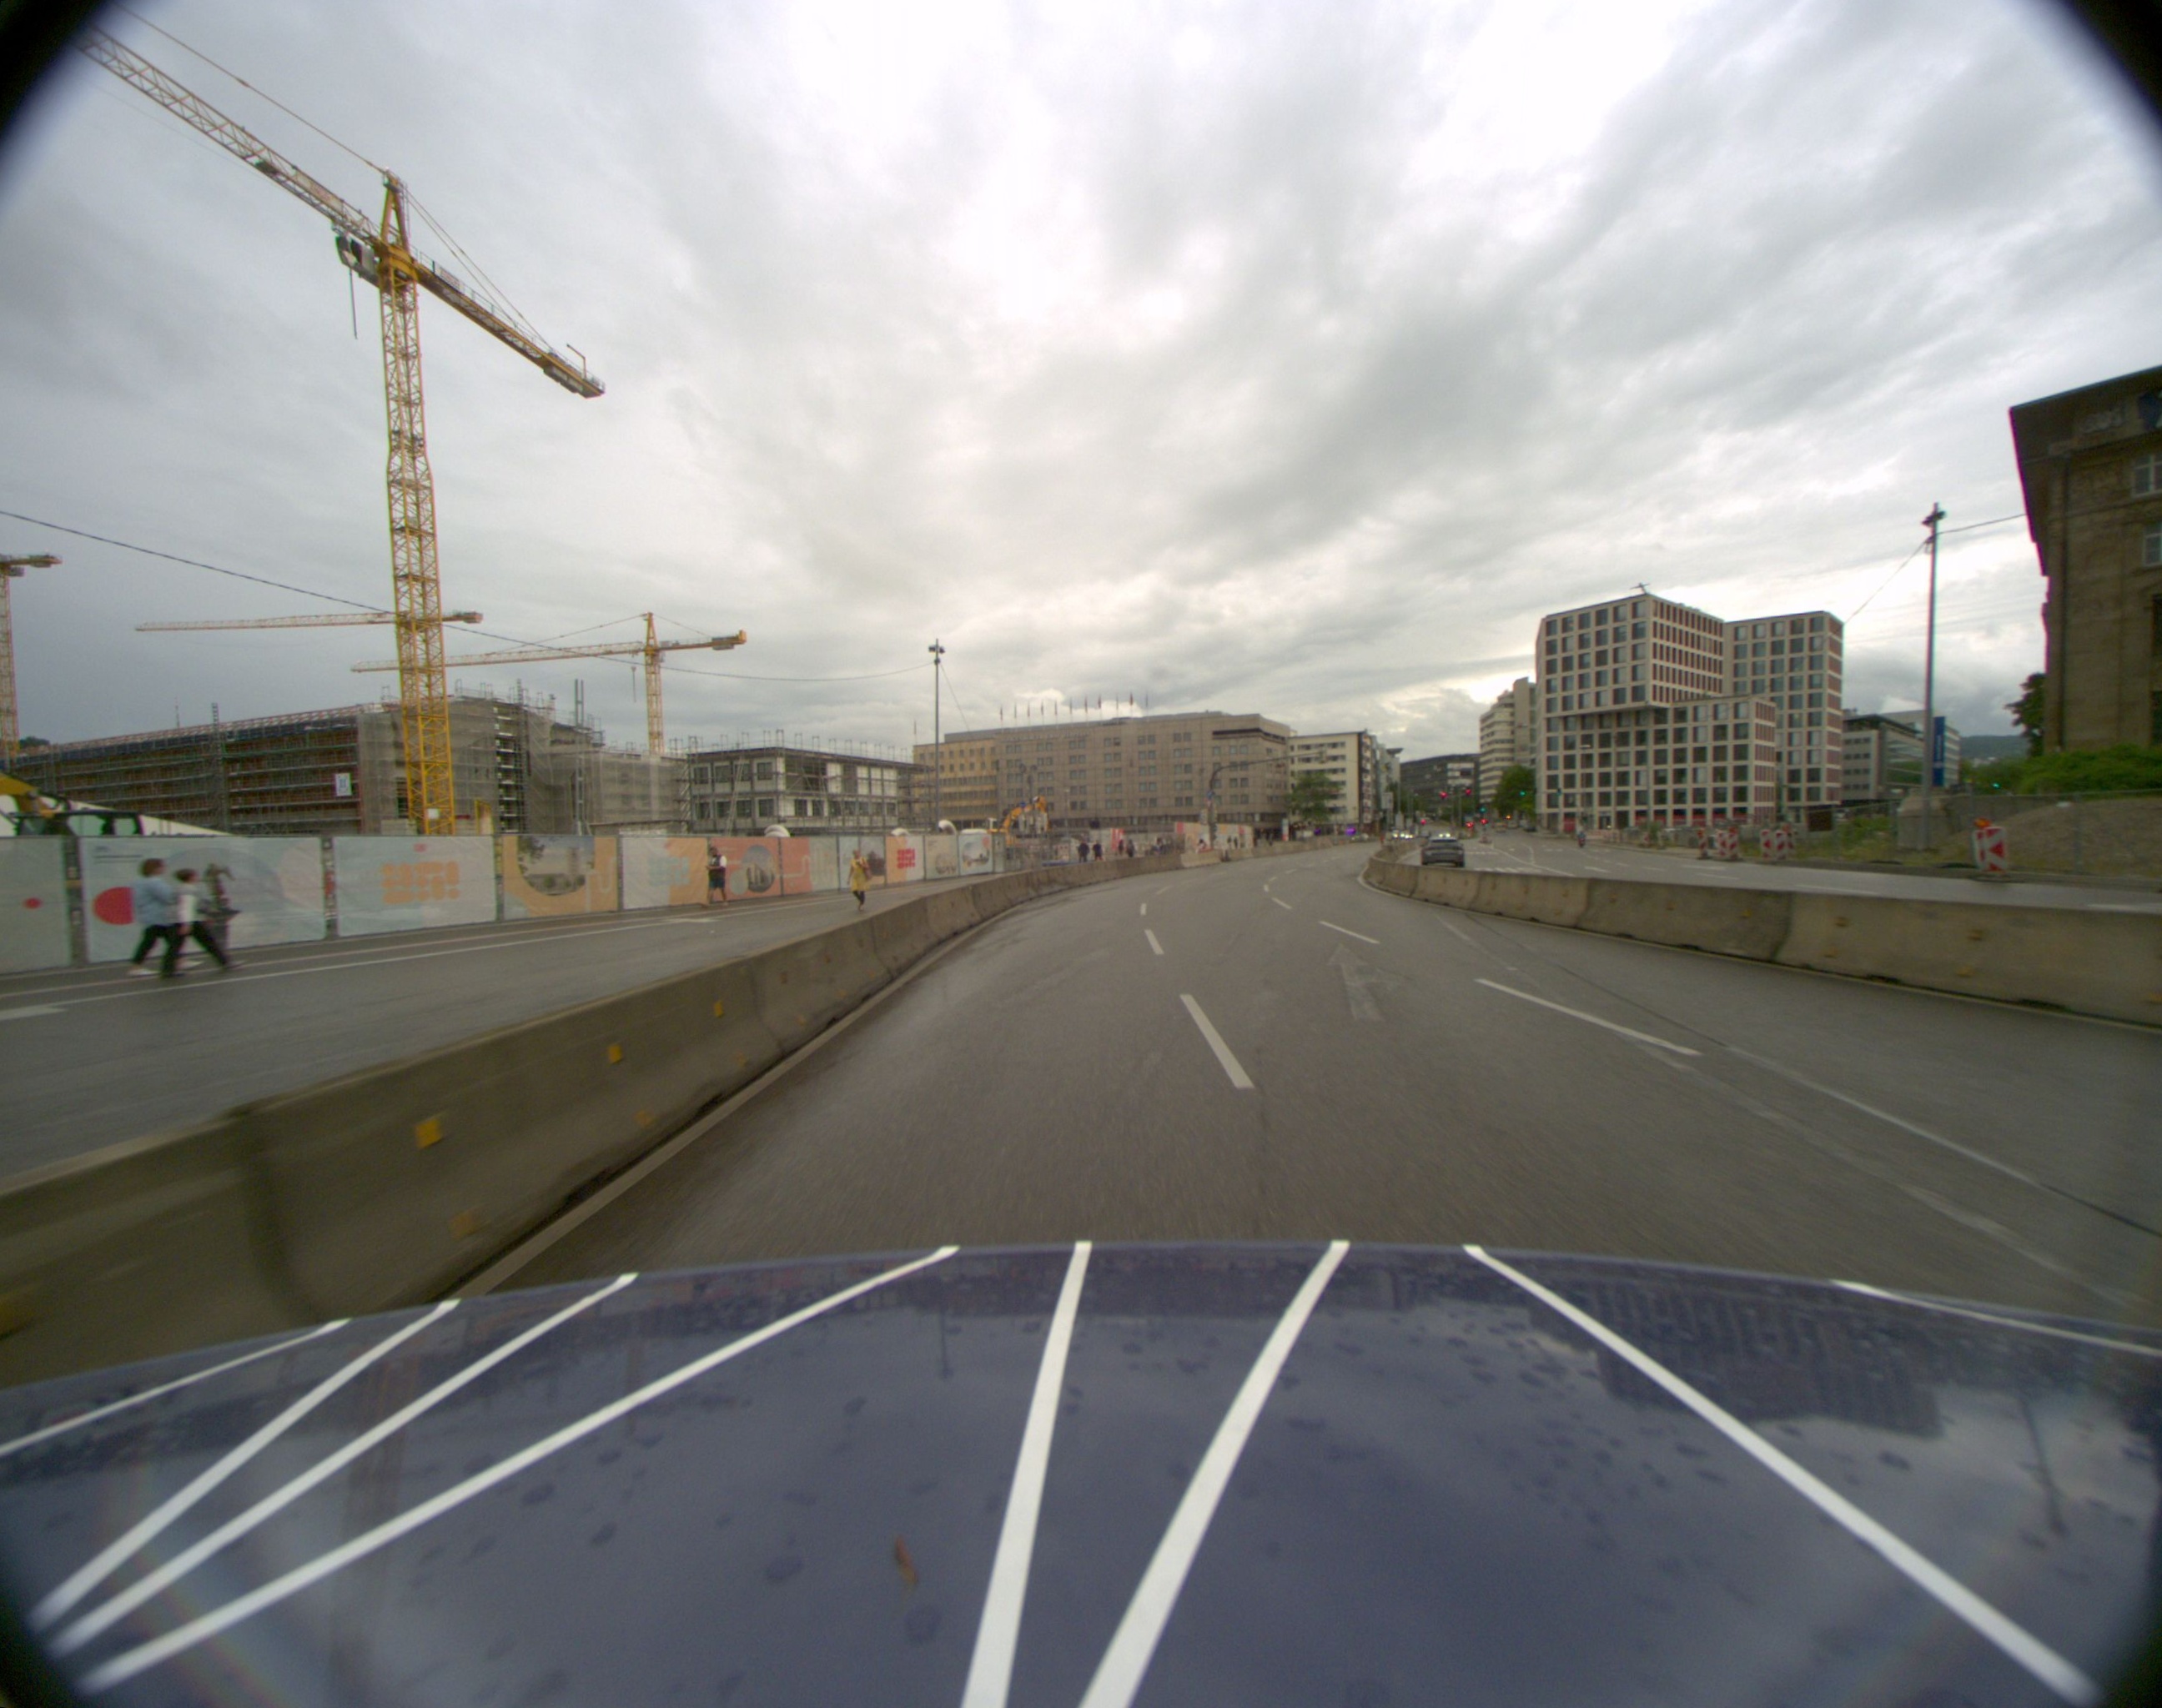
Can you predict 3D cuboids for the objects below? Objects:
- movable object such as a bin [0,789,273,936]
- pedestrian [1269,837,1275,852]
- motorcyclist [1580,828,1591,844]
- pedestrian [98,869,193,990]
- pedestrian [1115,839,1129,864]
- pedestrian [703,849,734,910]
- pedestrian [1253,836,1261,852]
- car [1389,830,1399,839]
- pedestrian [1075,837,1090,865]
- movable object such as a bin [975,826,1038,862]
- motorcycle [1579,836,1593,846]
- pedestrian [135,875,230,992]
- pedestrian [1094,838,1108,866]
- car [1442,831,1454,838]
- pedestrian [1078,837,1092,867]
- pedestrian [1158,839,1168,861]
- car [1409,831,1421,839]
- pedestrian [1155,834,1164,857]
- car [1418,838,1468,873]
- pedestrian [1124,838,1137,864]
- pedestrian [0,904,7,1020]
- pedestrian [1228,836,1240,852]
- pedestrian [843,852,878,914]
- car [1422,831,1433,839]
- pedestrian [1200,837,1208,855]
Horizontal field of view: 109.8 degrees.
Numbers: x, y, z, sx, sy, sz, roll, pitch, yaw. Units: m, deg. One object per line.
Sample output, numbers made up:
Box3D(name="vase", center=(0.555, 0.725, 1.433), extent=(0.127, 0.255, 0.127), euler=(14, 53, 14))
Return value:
Box3D(name="movable object such as a bin", center=(-24.462, 0.169, 19.774), extent=(1.941, 3.390, 4.232), euler=(-1, 2, 8))
Box3D(name="pedestrian", center=(23.097, -1.158, 91.891), extent=(0.653, 1.751, 0.549), euler=(1, 2, 12))
Box3D(name="motorcyclist", center=(47.386, -1.675, 71.328), extent=(0.703, 1.478, 0.964), euler=(-1, 2, 22))
Box3D(name="pedestrian", center=(-13.515, 1.053, 10.984), extent=(0.647, 1.646, 0.767), euler=(0, 2, 37))
Box3D(name="pedestrian", center=(2.788, -0.184, 51.529), extent=(0.654, 1.681, 0.777), euler=(1, 2, 24))
Box3D(name="pedestrian", center=(-10.494, 0.719, 22.016), extent=(0.567, 1.738, 0.495), euler=(-1, 2, 19))
Box3D(name="pedestrian", center=(19.785, -1.133, 85.454), extent=(0.756, 1.751, 0.766), euler=(1, 2, 12))
Box3D(name="car", center=(64.340, -3.971, 156.220), extent=(1.995, 1.814, 4.005), euler=(-1, 2, 22))
Box3D(name="pedestrian", center=(0.092, -0.198, 47.459), extent=(0.745, 1.696, 0.687), euler=(1, 2, 14))
Box3D(name="movable object such as a bin", center=(-5.471, -0.731, 55.940), extent=(4.135, 2.521, 1.995), euler=(-2, 2, -34))
Box3D(name="motorcycle", center=(47.380, -1.249, 71.308), extent=(0.703, 0.887, 1.825), euler=(-1, 2, 22))
Box3D(name="pedestrian", center=(-12.766, 1.094, 10.803), extent=(0.647, 1.544, 0.767), euler=(0, 2, 37))
Box3D(name="pedestrian", center=(1.185, -0.102, 45.050), extent=(0.648, 1.637, 0.948), euler=(1, 2, 14))
Box3D(name="car", center=(72.815, -3.889, 150.760), extent=(1.789, 1.445, 3.677), euler=(-1, 2, 22))
Box3D(name="pedestrian", center=(0.230, -0.146, 44.870), extent=(0.648, 1.733, 0.766), euler=(1, 2, 14))
Box3D(name="pedestrian", center=(6.439, -0.324, 59.579), extent=(0.648, 1.751, 0.584), euler=(1, 2, 12))
Box3D(name="car", center=(67.507, -3.817, 153.567), extent=(1.995, 1.445, 4.005), euler=(-1, 1, 22))
Box3D(name="pedestrian", center=(5.804, -0.650, 56.353), extent=(0.585, 1.699, 0.677), euler=(1, 2, 12))
Box3D(name="car", center=(17.266, 0.036, 36.375), extent=(1.768, 1.512, 4.392), euler=(-1, 1, 20))
Box3D(name="pedestrian", center=(3.235, -0.182, 49.625), extent=(0.654, 1.681, 0.777), euler=(1, 2, 24))
Box3D(name="pedestrian", center=(-13.163, 1.022, 8.688), extent=(0.818, 1.838, 0.933), euler=(0, 2, 37))
Box3D(name="pedestrian", center=(16.690, -1.121, 82.768), extent=(1.097, 1.751, 0.907), euler=(1, 2, 27))
Box3D(name="pedestrian", center=(-6.003, 0.762, 20.723), extent=(0.648, 1.623, 0.907), euler=(-1, 2, 1))
Box3D(name="car", center=(69.167, -3.844, 151.747), extent=(1.706, 1.445, 3.801), euler=(-1, 2, 22))
Box3D(name="pedestrian", center=(11.191, -0.736, 68.980), extent=(0.648, 1.660, 0.766), euler=(1, 2, 12))
